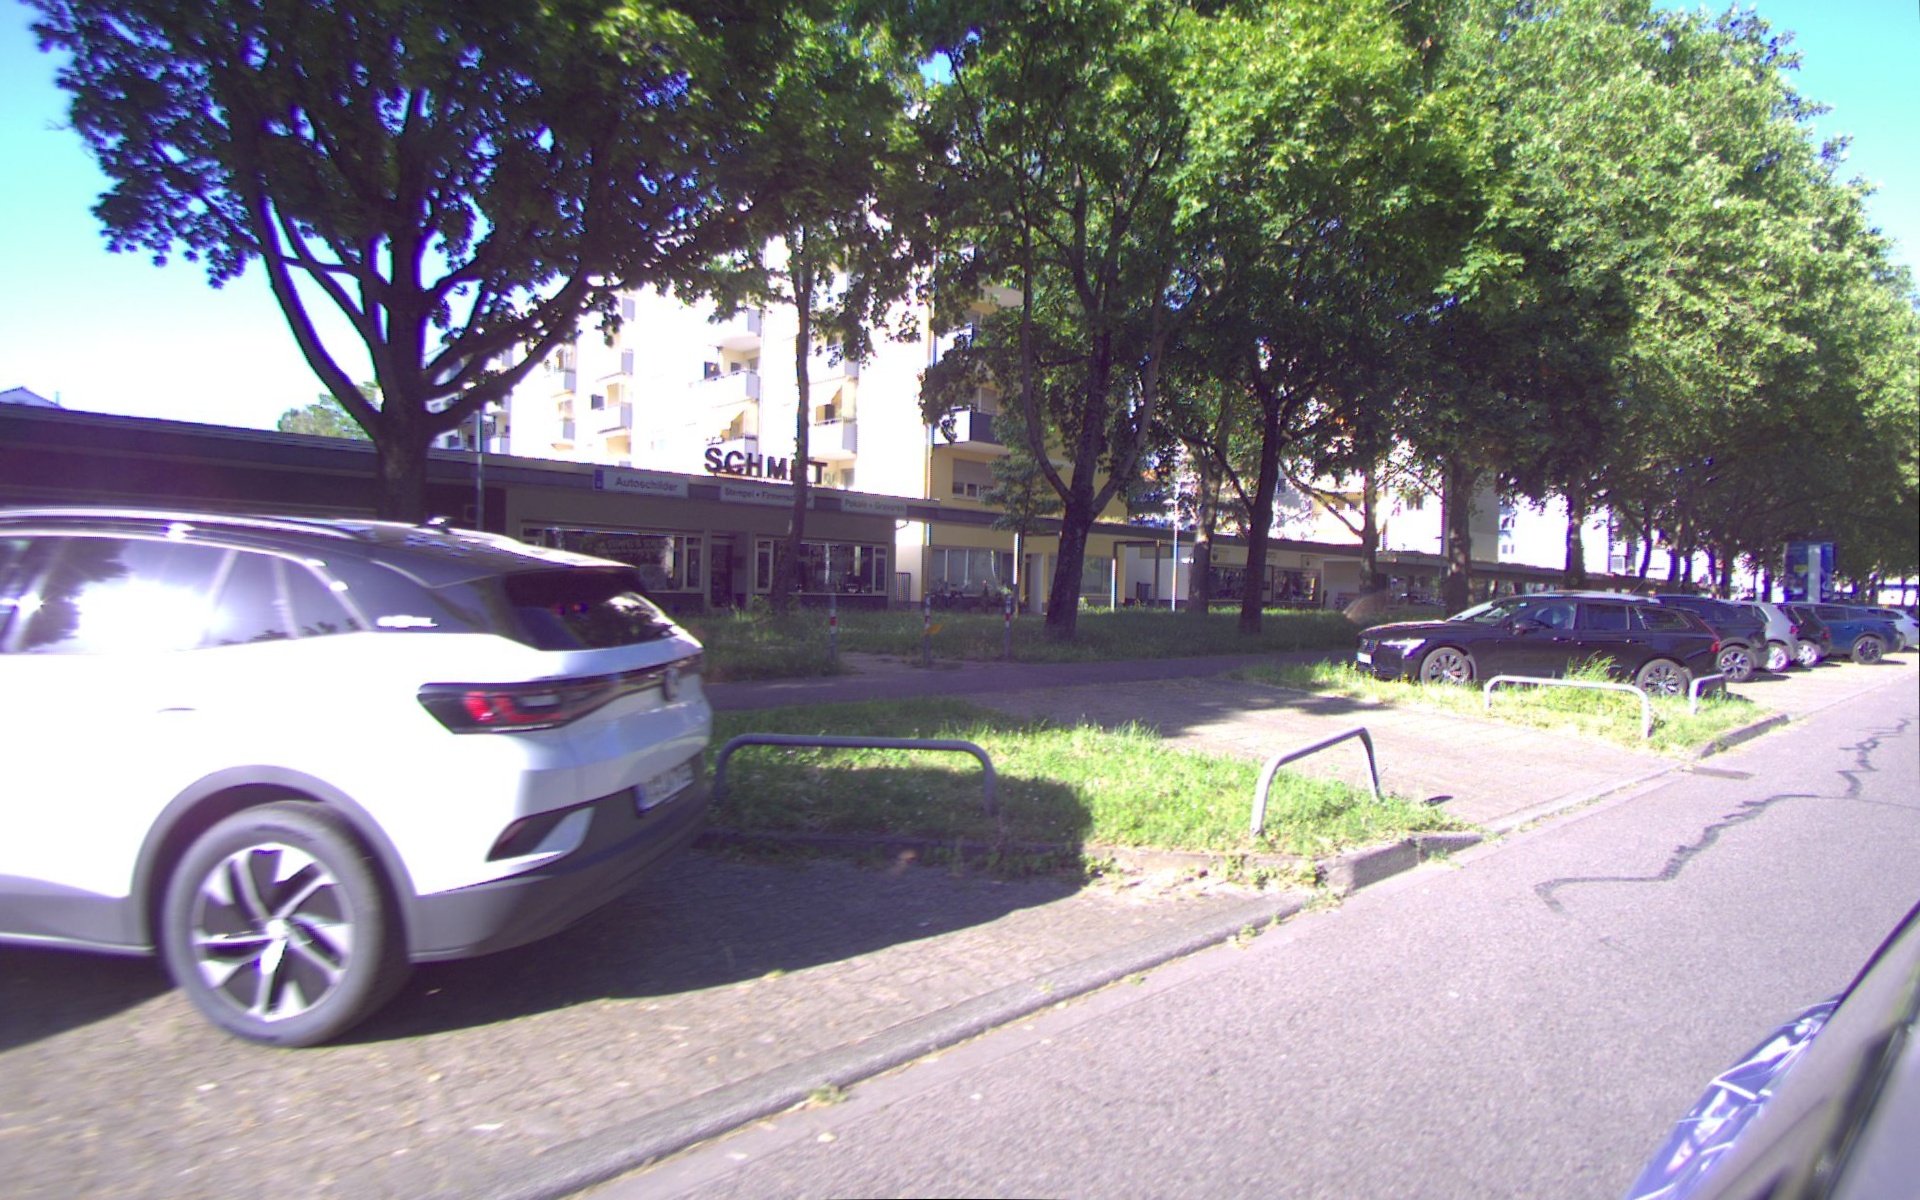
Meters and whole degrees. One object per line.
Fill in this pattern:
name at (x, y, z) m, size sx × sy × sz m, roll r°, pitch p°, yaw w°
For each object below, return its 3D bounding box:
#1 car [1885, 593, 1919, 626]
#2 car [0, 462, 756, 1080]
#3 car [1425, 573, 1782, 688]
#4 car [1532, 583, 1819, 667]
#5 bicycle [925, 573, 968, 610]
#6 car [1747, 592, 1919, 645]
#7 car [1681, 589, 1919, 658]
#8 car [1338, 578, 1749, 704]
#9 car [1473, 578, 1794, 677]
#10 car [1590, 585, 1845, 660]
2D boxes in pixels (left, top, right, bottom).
car at (54.155, 0.590, 55.716) m, size 4.419 × 1.693 × 1.899 m, roll 2°, pitch 2°, yaw 4°
car at (-3.161, 0.366, 4.002) m, size 4.227 × 1.695 × 1.866 m, roll 3°, pitch 3°, yaw 5°
car at (10.629, 0.450, 17.047) m, size 4.592 × 1.585 × 1.999 m, roll 2°, pitch 2°, yaw 4°
car at (15.247, 0.490, 21.798) m, size 4.592 × 1.466 × 1.999 m, roll 2°, pitch 2°, yaw 4°
bicycle at (-0.473, -0.317, 36.432) m, size 1.632 × 1.323 × 0.505 m, roll -1°, pitch 0°, yaw -43°
car at (28.855, 0.580, 33.197) m, size 4.419 × 1.466 × 1.899 m, roll 2°, pitch 2°, yaw 4°
car at (21.599, 0.579, 26.128) m, size 4.419 × 1.466 × 1.899 m, roll 2°, pitch 2°, yaw 4°
car at (8.099, 0.512, 14.461) m, size 4.592 × 1.442 × 1.999 m, roll 2°, pitch 2°, yaw 4°
car at (12.576, 0.470, 19.185) m, size 4.592 × 1.539 × 1.999 m, roll 2°, pitch 2°, yaw 4°
car at (17.754, 0.494, 23.916) m, size 4.419 × 1.466 × 1.899 m, roll 2°, pitch 2°, yaw 4°
